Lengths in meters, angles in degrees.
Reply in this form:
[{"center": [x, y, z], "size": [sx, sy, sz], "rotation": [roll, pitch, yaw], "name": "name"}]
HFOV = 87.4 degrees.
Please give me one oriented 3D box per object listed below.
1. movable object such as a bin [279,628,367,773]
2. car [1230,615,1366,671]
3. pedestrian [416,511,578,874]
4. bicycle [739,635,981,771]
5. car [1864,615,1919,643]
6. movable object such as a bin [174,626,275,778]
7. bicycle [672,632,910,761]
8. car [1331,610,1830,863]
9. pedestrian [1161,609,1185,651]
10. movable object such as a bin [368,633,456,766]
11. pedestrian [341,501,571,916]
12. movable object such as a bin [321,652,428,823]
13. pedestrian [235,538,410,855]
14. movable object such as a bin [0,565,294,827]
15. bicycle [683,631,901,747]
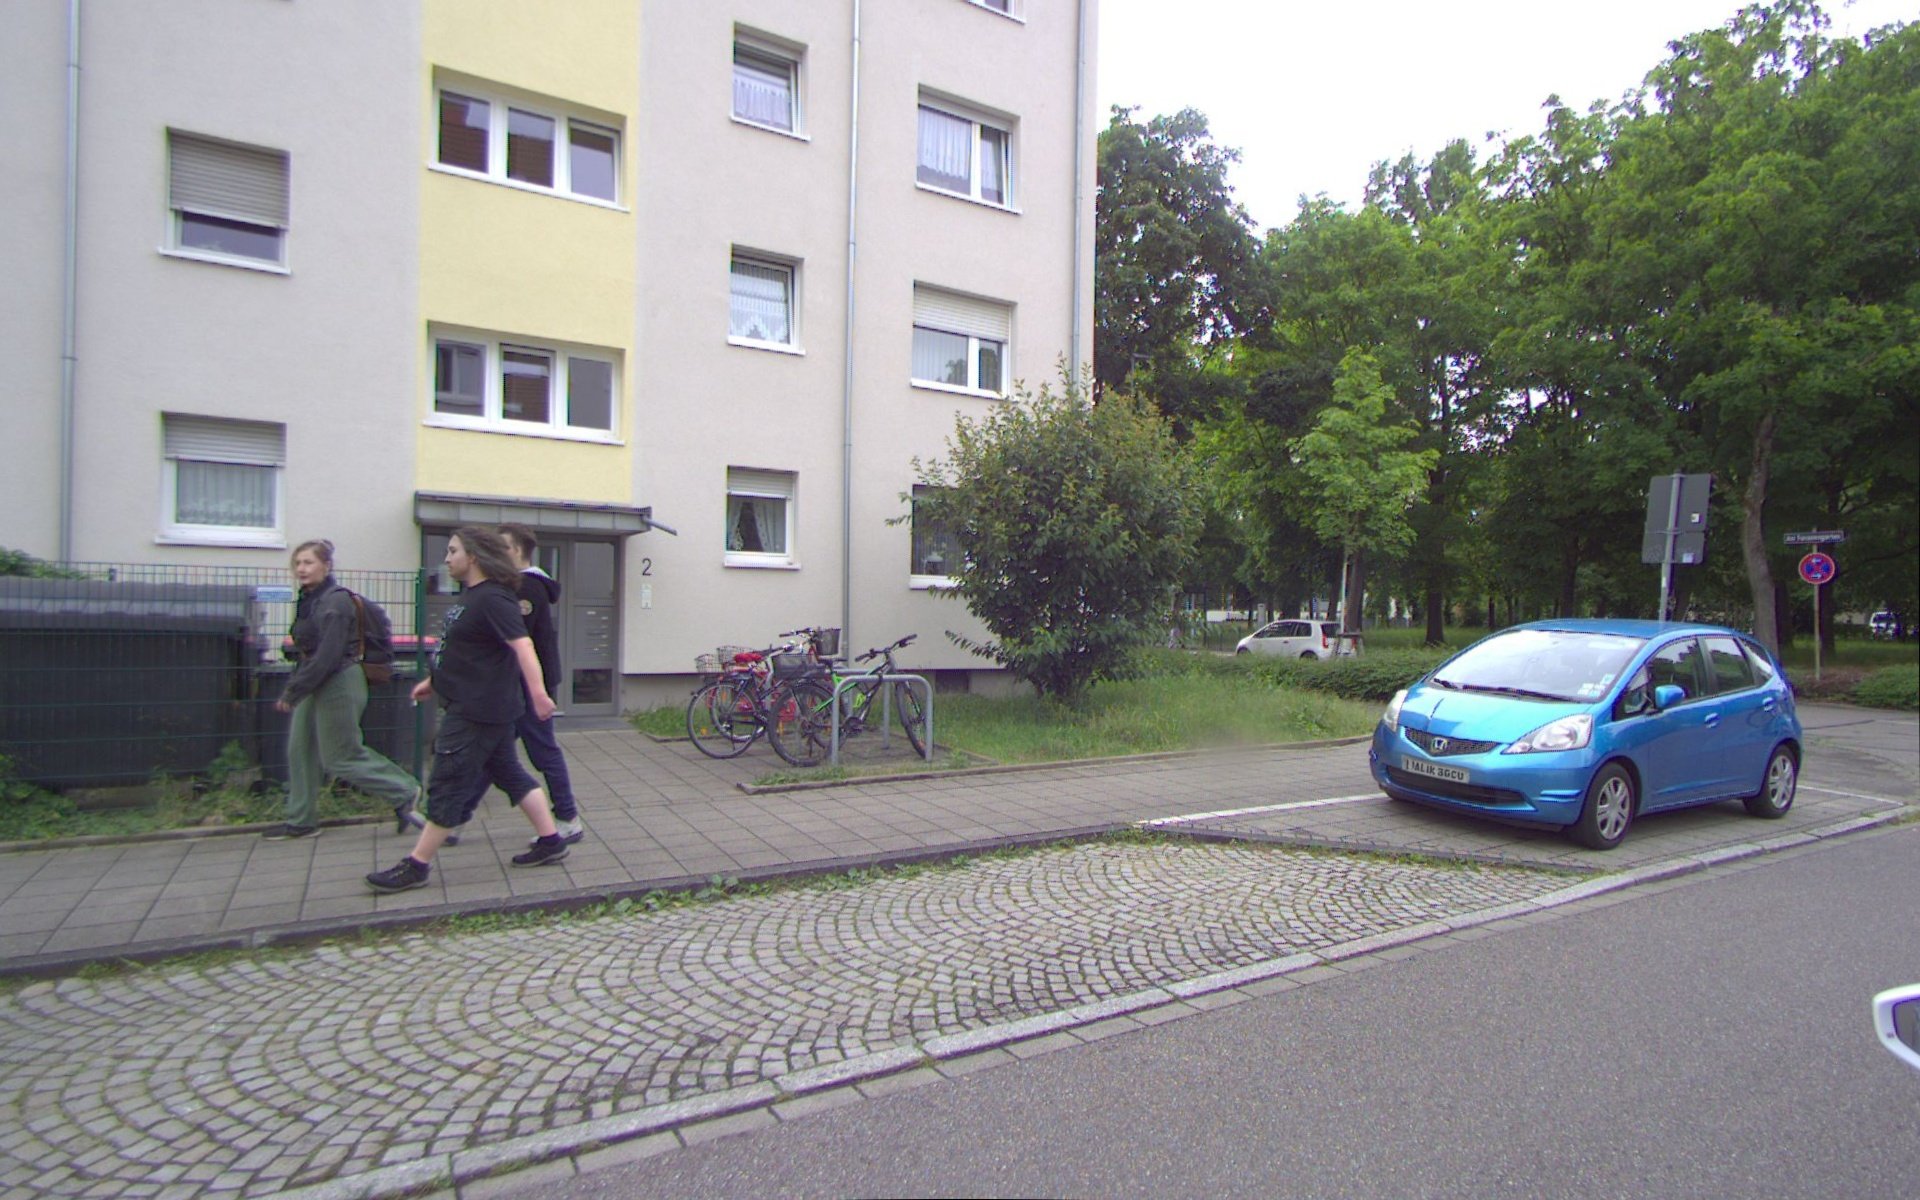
[{"center": [-5.368, 0.809, 8.477], "size": [0.591, 1.131, 0.837], "rotation": [1, 0, -33], "name": "movable object such as a bin"}, {"center": [9.547, 1.168, 28.596], "size": [1.549, 1.456, 3.514], "rotation": [1, 0, -31], "name": "car"}, {"center": [-2.637, 0.487, 5.705], "size": [0.754, 1.879, 0.703], "rotation": [1, 0, -31], "name": "pedestrian"}, {"center": [-0.873, 0.877, 9.084], "size": [2.097, 1.082, 0.654], "rotation": [1, 0, -30], "name": "bicycle"}, {"center": [57.160, 1.786, 61.411], "size": [3.959, 1.639, 1.906], "rotation": [1, -1, -34], "name": "car"}, {"center": [-5.919, 0.784, 8.119], "size": [0.591, 1.131, 0.837], "rotation": [1, 0, -33], "name": "movable object such as a bin"}, {"center": [-1.575, 0.866, 9.550], "size": [2.149, 1.085, 0.654], "rotation": [1, 0, -30], "name": "bicycle"}, {"center": [4.974, 0.885, 7.956], "size": [3.911, 1.482, 1.721], "rotation": [1, 2, -31], "name": "car"}, {"center": [8.297, 1.152, 39.119], "size": [0.648, 1.604, 0.693], "rotation": [0, 0, -28], "name": "pedestrian"}, {"center": [-4.791, 0.832, 8.771], "size": [0.627, 1.065, 0.859], "rotation": [1, 0, -32], "name": "movable object such as a bin"}, {"center": [-2.540, 0.495, 5.075], "size": [0.963, 1.888, 0.637], "rotation": [1, 2, -31], "name": "pedestrian"}, {"center": [-3.914, 0.884, 6.720], "size": [0.591, 1.047, 0.534], "rotation": [1, 0, -32], "name": "movable object such as a bin"}, {"center": [-3.640, 0.518, 5.788], "size": [0.794, 1.679, 0.611], "rotation": [1, 0, -31], "name": "pedestrian"}, {"center": [-5.309, 0.531, 6.427], "size": [1.652, 1.440, 1.581], "rotation": [1, 0, -31], "name": "movable object such as a bin"}, {"center": [-1.714, 0.874, 10.416], "size": [2.149, 1.085, 0.654], "rotation": [1, 0, -30], "name": "bicycle"}]
